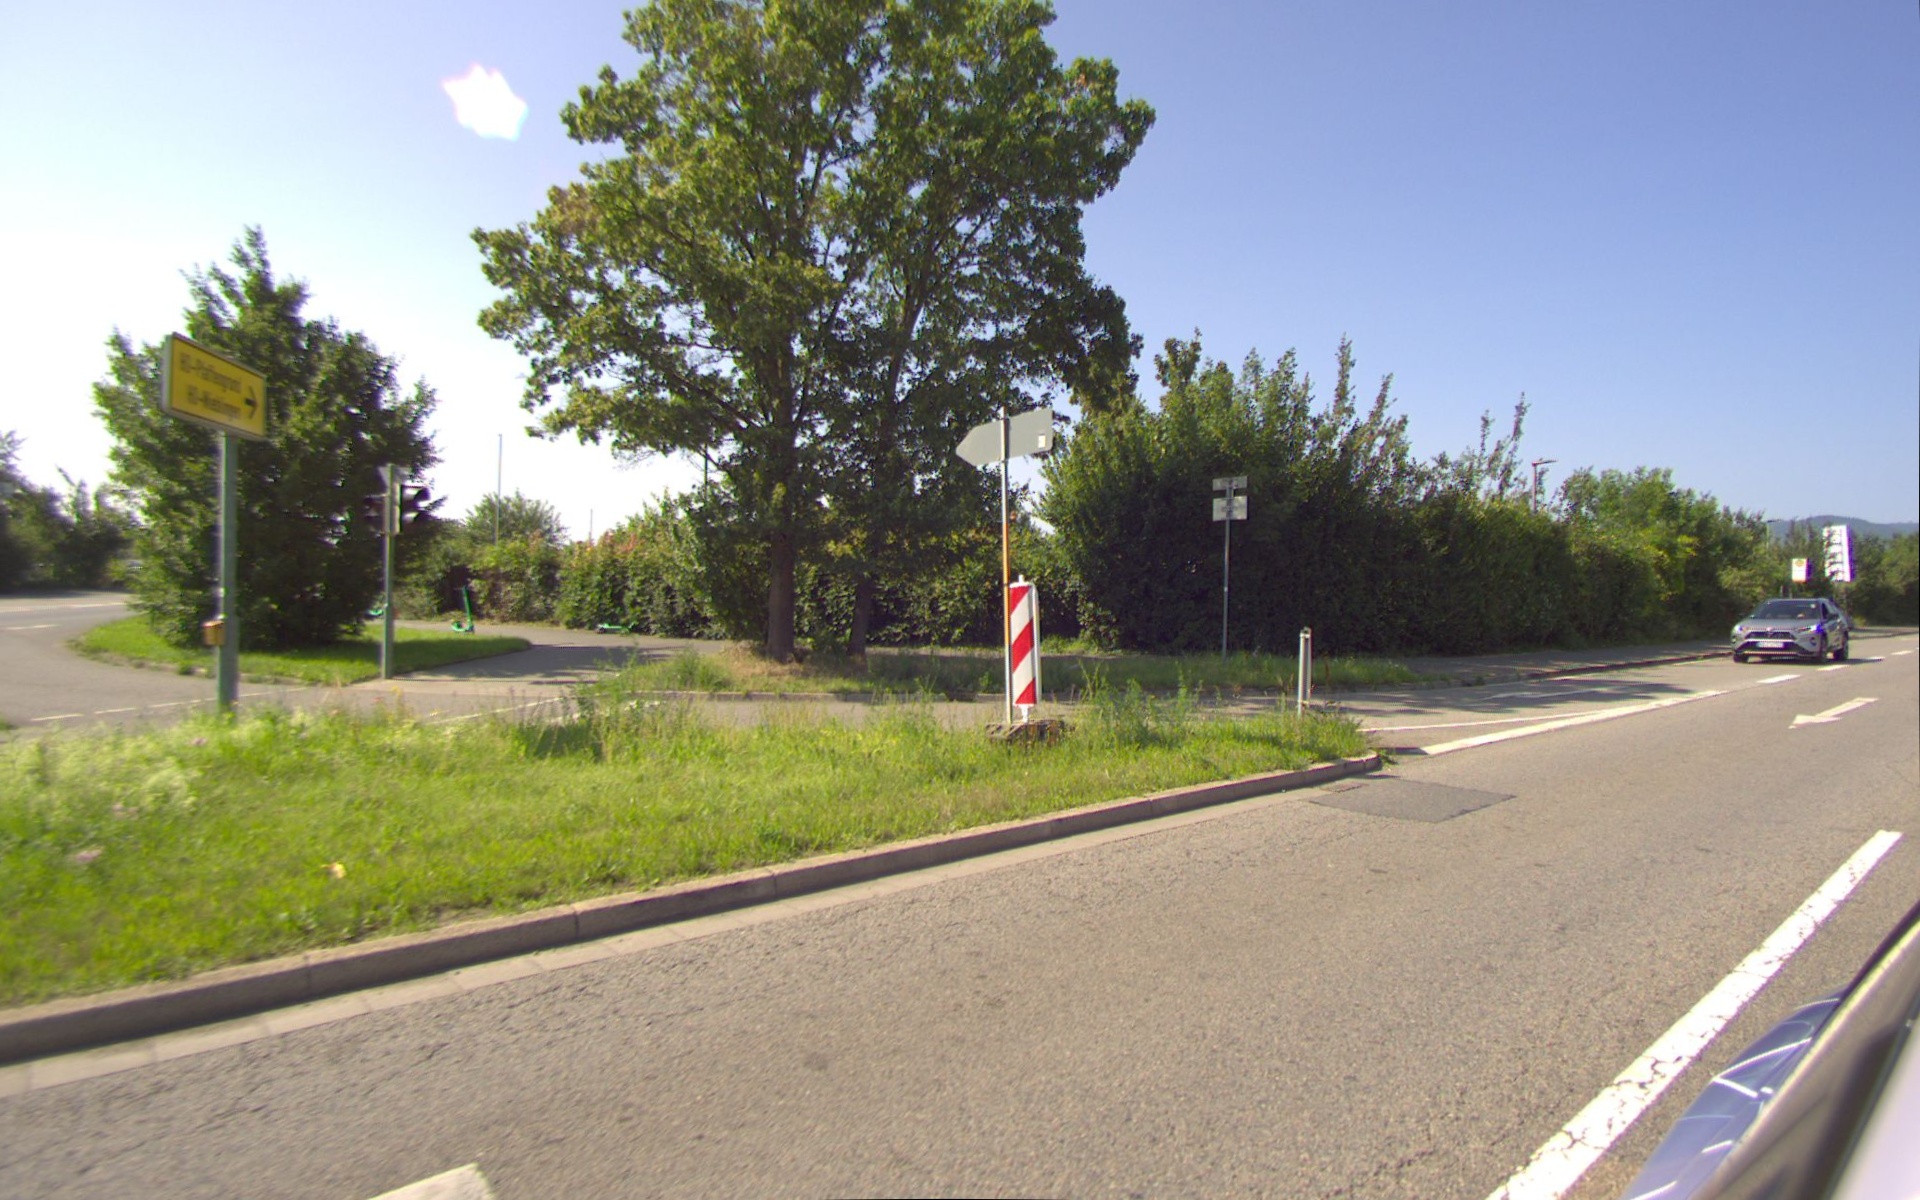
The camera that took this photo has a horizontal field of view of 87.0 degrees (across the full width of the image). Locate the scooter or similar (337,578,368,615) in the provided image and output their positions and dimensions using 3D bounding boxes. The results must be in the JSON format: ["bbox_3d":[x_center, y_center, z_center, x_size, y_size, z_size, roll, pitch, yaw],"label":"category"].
[{"bbox_3d":[-18.753,-0.105,31.238,1.380,1.131,0.492,0,0,44],"label":"scooter or similar"}]

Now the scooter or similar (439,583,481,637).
[{"bbox_3d":[-12.057,0.236,24.402,0.961,1.250,0.431,2,1,31],"label":"scooter or similar"}]

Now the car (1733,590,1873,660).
[{"bbox_3d":[22.156,0.618,26.540,4.598,1.701,1.906,1,-1,-38],"label":"car"}]

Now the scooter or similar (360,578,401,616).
[{"bbox_3d":[-17.447,-0.097,30.446,1.373,1.131,0.495,0,0,32],"label":"scooter or similar"}]

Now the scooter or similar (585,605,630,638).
[{"bbox_3d":[-8.708,0.527,25.019,1.113,0.735,0.431,3,2,31],"label":"scooter or similar"}]
